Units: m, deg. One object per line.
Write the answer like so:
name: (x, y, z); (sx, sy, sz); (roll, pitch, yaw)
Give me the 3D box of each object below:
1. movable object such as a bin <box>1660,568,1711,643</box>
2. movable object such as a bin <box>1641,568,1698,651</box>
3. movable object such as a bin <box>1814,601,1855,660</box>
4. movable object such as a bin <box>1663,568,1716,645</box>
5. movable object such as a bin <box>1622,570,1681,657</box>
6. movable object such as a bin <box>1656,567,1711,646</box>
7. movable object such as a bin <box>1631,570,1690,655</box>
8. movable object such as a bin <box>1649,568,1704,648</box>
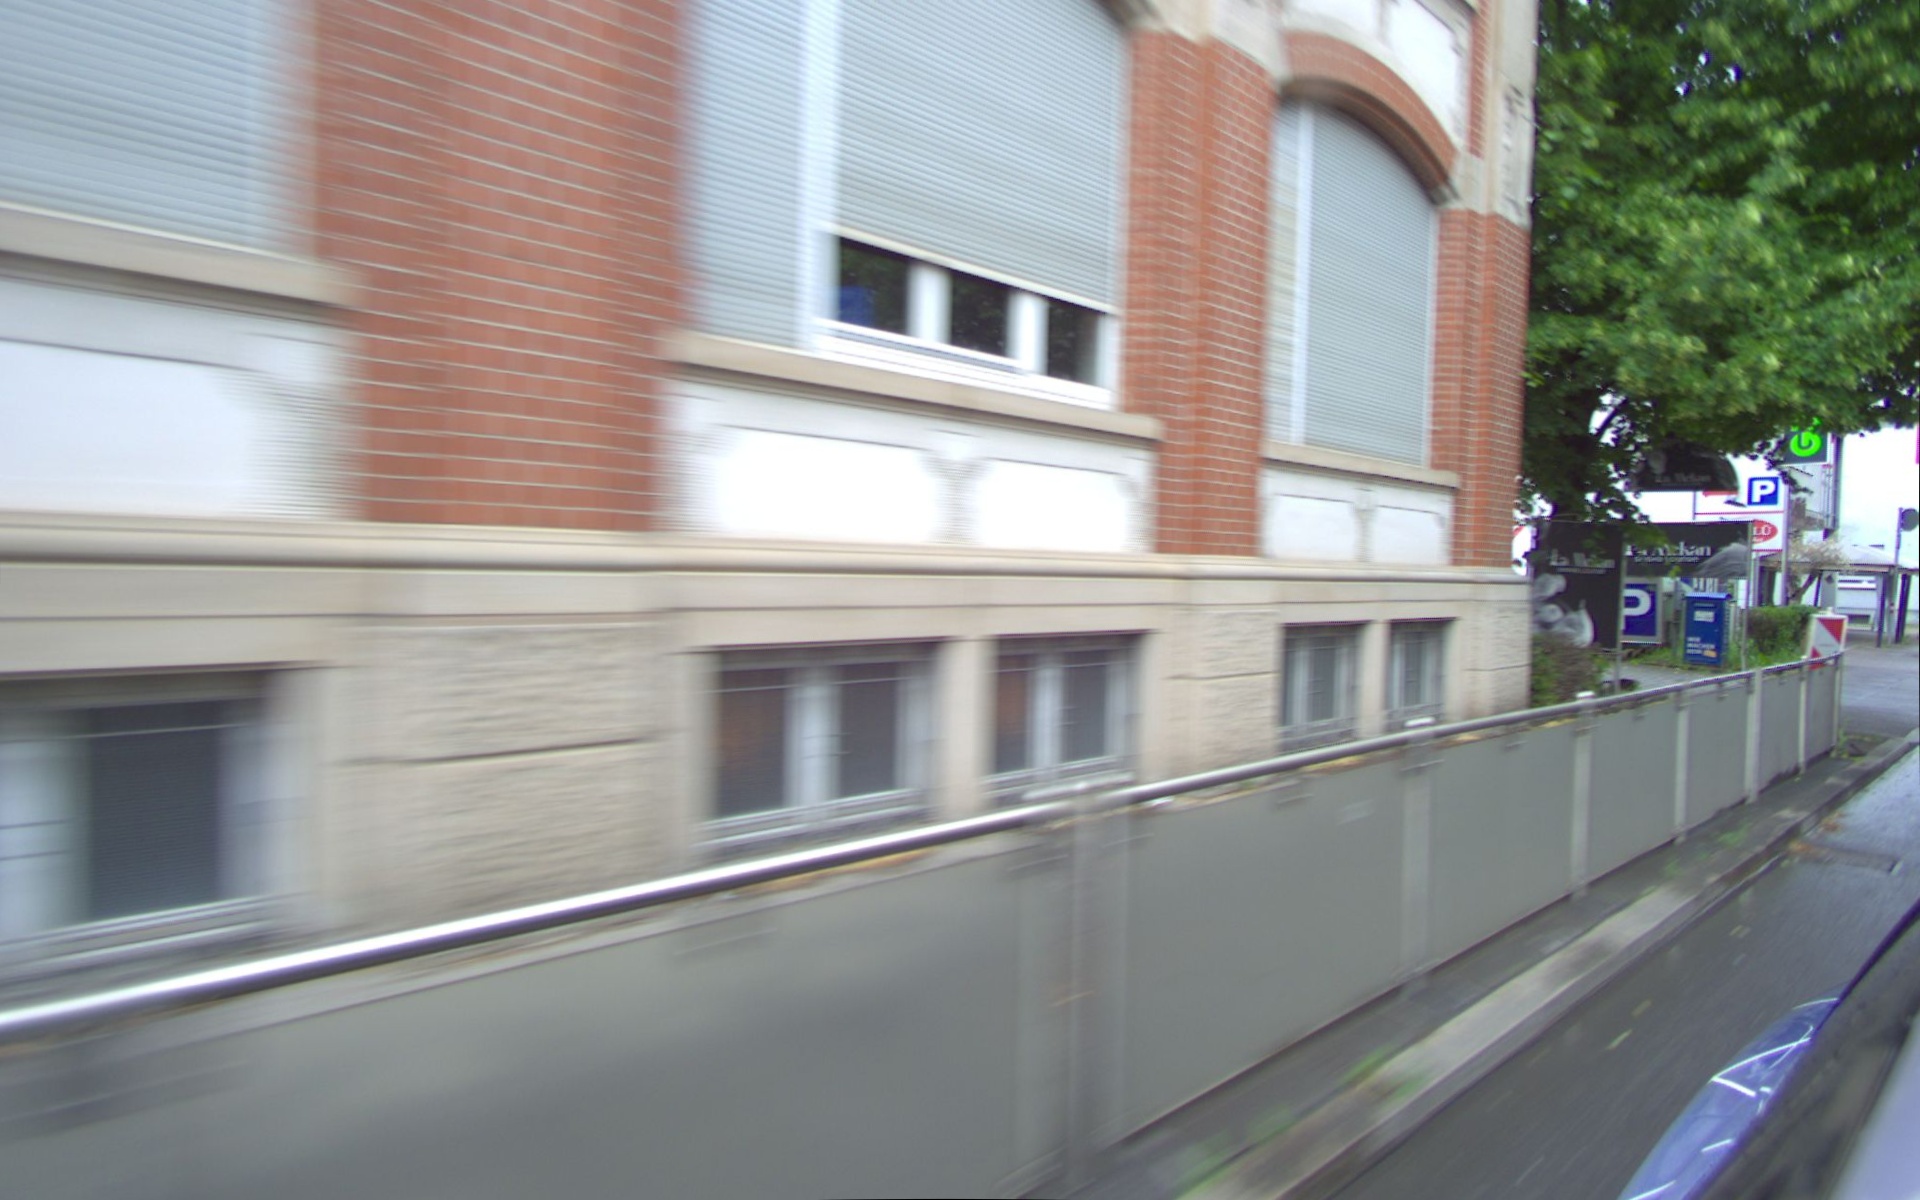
movable object such as a bin: (15.266, 0.105, 21.296); (0.615, 1.527, 0.738); (0, 2, -44)
movable object such as a bin: (13.582, 0.171, 19.375); (0.615, 1.527, 0.738); (0, 2, -44)
movable object such as a bin: (17.424, 0.597, 20.174); (0.607, 1.129, 0.505); (0, 2, -40)
movable object such as a bin: (14.937, 0.114, 20.718); (0.615, 1.527, 0.738); (0, 2, -44)
movable object such as a bin: (12.585, 0.233, 18.424); (0.615, 1.519, 0.738); (0, 2, -44)
movable object such as a bin: (14.478, 0.123, 20.259); (0.615, 1.527, 0.738); (0, 2, -44)
movable object such as a bin: (13.096, 0.219, 18.922); (0.615, 1.527, 0.738); (0, 2, -44)
movable object such as a bin: (14.014, 0.144, 19.793); (0.615, 1.527, 0.738); (0, 2, -44)
